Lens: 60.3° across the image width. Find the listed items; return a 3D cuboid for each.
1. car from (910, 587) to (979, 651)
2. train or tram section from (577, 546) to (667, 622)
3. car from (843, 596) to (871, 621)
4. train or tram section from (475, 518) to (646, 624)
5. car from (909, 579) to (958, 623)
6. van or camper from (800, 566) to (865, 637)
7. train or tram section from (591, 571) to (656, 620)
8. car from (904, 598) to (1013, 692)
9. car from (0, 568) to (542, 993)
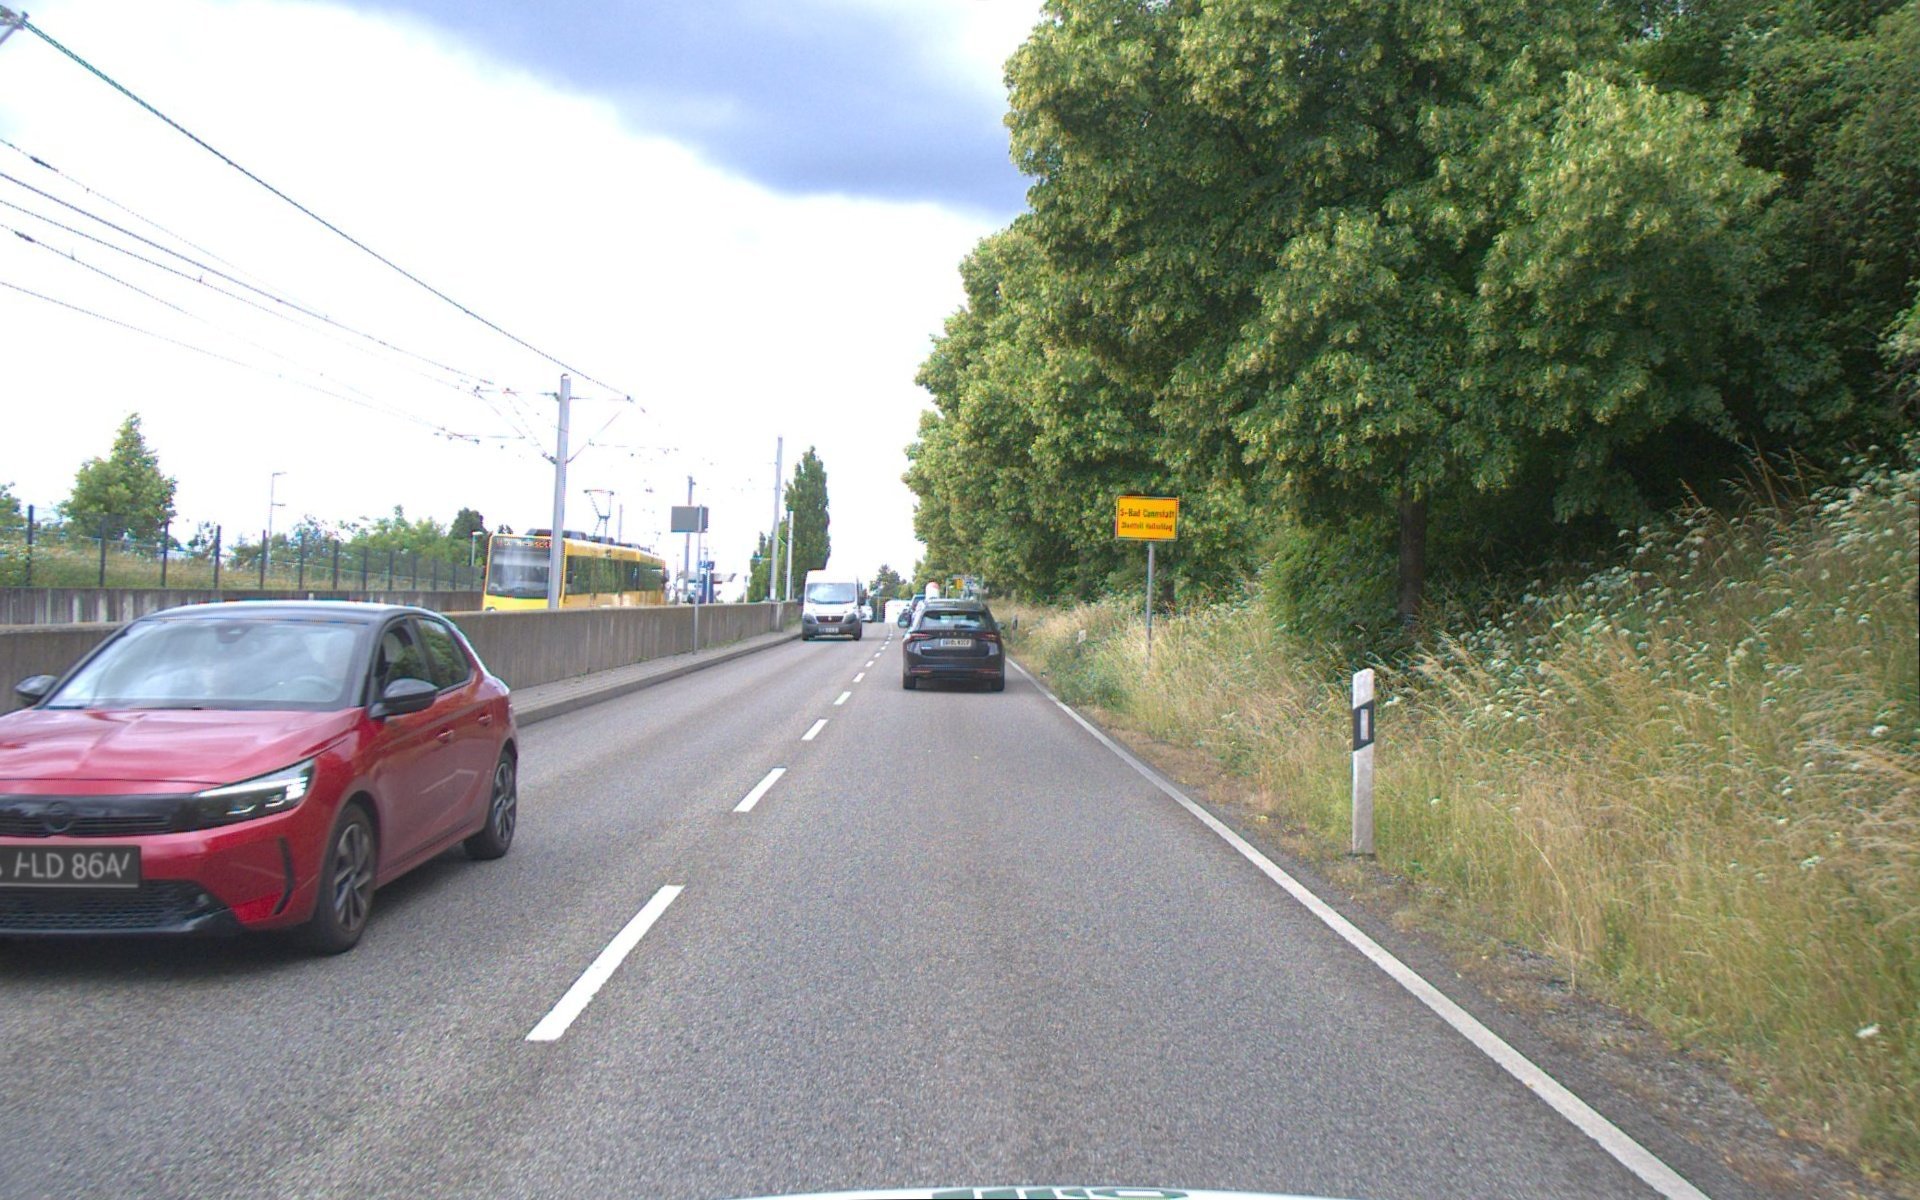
[{"bbox_3d":[-0.487,0.549,49.436,1.953,1.783,3.999,1,0,-1],"label":"car"},{"bbox_3d":[-15.669,-0.559,77.977,2.751,3.130,19.068,1,-1,-8],"label":"train or tram section"},{"bbox_3d":[-6.578,0.524,105.087,1.697,1.599,3.996,0,0,-5],"label":"car"},{"bbox_3d":[-13.819,-0.773,59.242,2.756,3.172,18.898,1,-1,-4],"label":"train or tram section"},{"bbox_3d":[-1.106,0.069,68.770,1.953,1.771,3.999,1,-1,-1],"label":"car"},{"bbox_3d":[-4.595,0.041,60.325,2.040,2.438,6.135,1,0,-2],"label":"van or camper"},{"bbox_3d":[-23.491,-0.216,114.771,2.751,3.075,18.792,1,-1,-17],"label":"train or tram section"},{"bbox_3d":[-0.056,0.724,28.761,1.745,1.493,3.999,1,0,-1],"label":"car"},{"bbox_3d":[-3.320,0.665,8.106,1.629,1.572,3.951,0,0,-2],"label":"car"}]
